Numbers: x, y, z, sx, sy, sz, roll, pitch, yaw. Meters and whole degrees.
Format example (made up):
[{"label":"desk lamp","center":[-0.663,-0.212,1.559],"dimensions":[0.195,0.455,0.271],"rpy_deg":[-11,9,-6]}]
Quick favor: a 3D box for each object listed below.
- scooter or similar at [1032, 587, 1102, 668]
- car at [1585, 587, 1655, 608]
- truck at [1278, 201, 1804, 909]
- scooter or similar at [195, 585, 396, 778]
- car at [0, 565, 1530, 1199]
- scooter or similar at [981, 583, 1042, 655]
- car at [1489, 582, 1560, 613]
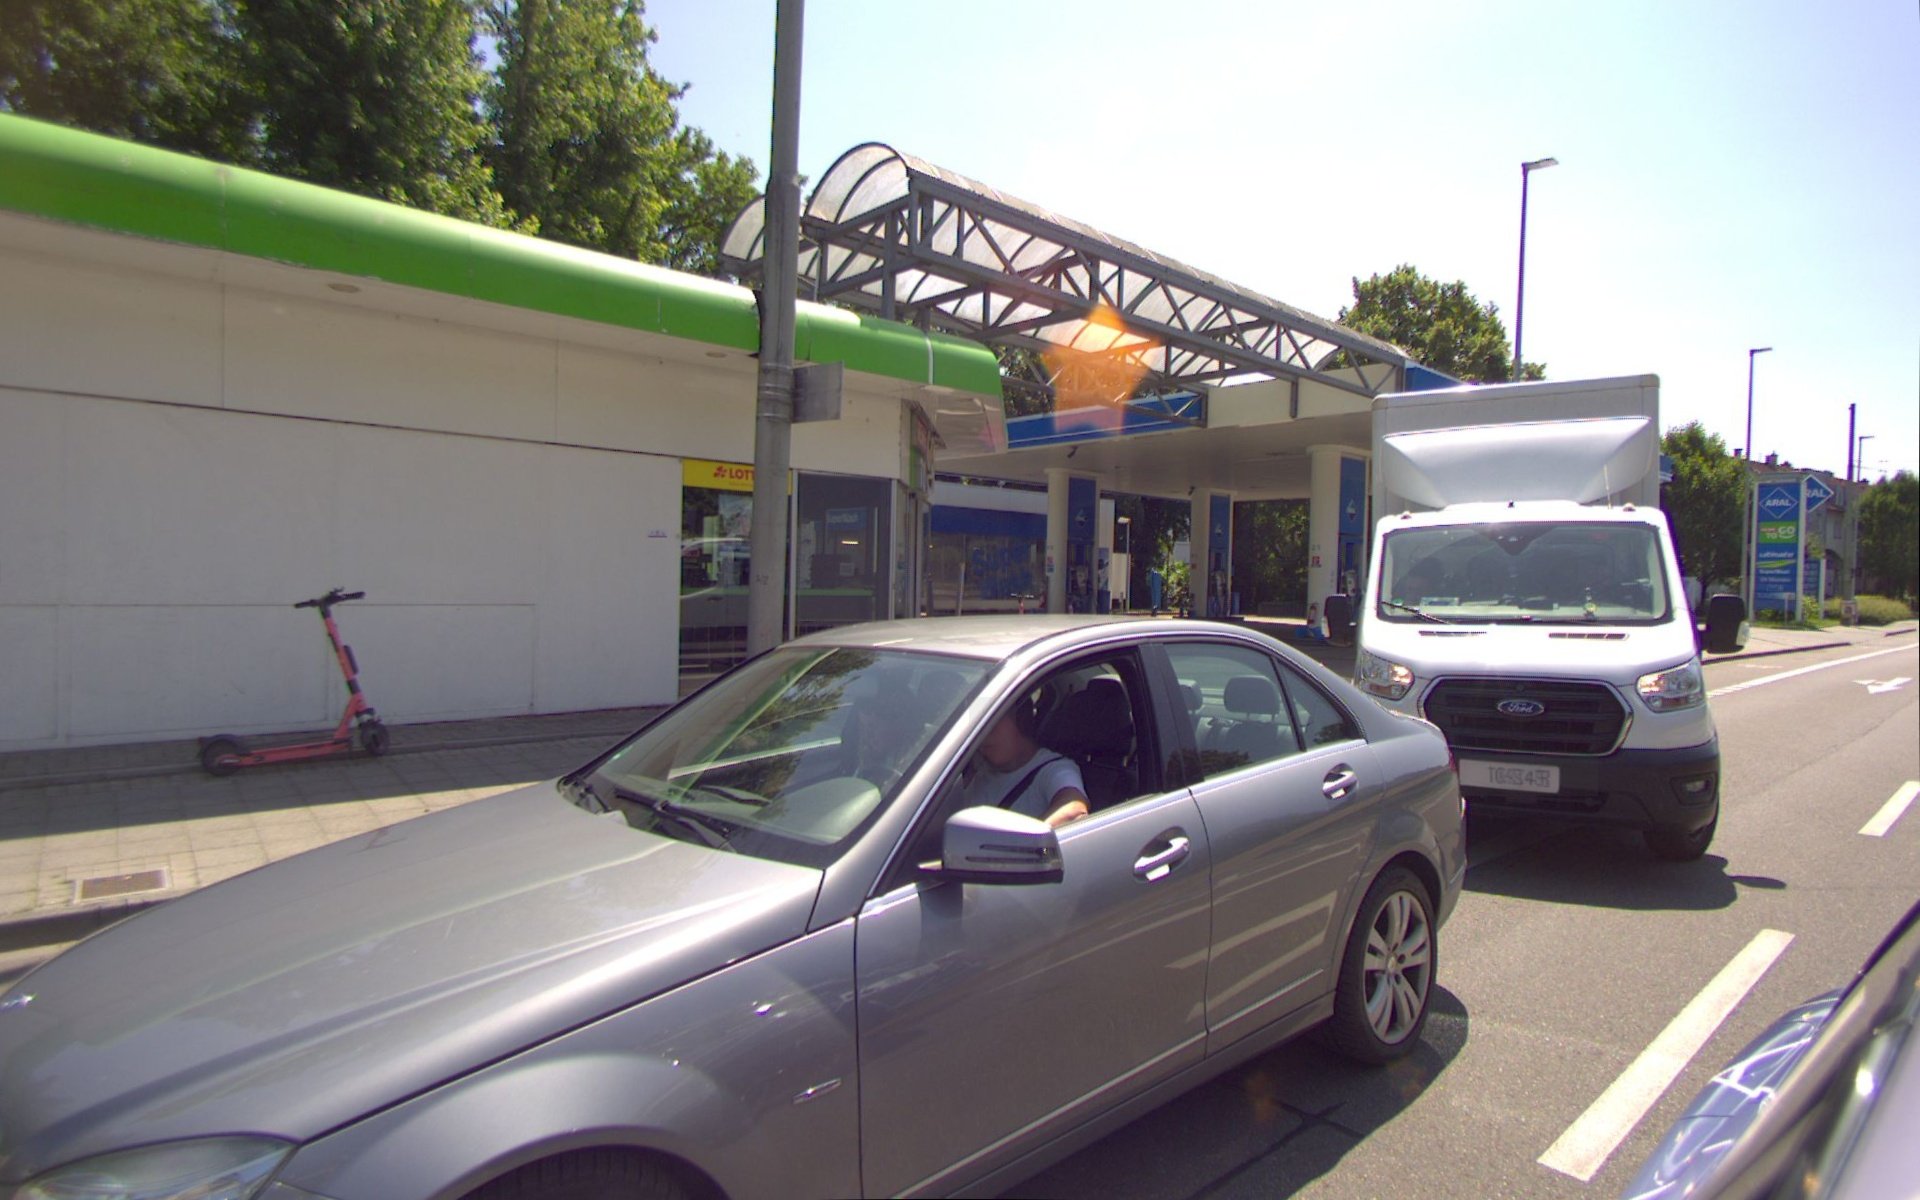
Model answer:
[{"label":"scooter or similar","center":[1.744,0.433,16.650],"dimensions":[0.404,1.256,1.176],"rpy_deg":[0,1,-40]},{"label":"car","center":[52.489,-0.210,80.592],"dimensions":[1.961,1.540,4.229],"rpy_deg":[0,1,-33]},{"label":"truck","center":[4.824,-0.288,8.923],"dimensions":[2.406,3.434,7.756],"rpy_deg":[2,1,28]},{"label":"scooter or similar","center":[-4.529,0.519,6.922],"dimensions":[1.118,1.209,0.384],"rpy_deg":[0,4,-37]},{"label":"car","center":[-0.085,0.677,3.085],"dimensions":[4.340,1.467,1.799],"rpy_deg":[0,1,-41]},{"label":"scooter or similar","center":[0.887,0.313,17.561],"dimensions":[0.377,1.191,1.137],"rpy_deg":[0,1,-40]},{"label":"car","center":[32.642,-0.172,58.509],"dimensions":[4.329,1.683,2.000],"rpy_deg":[-1,2,-37]}]
